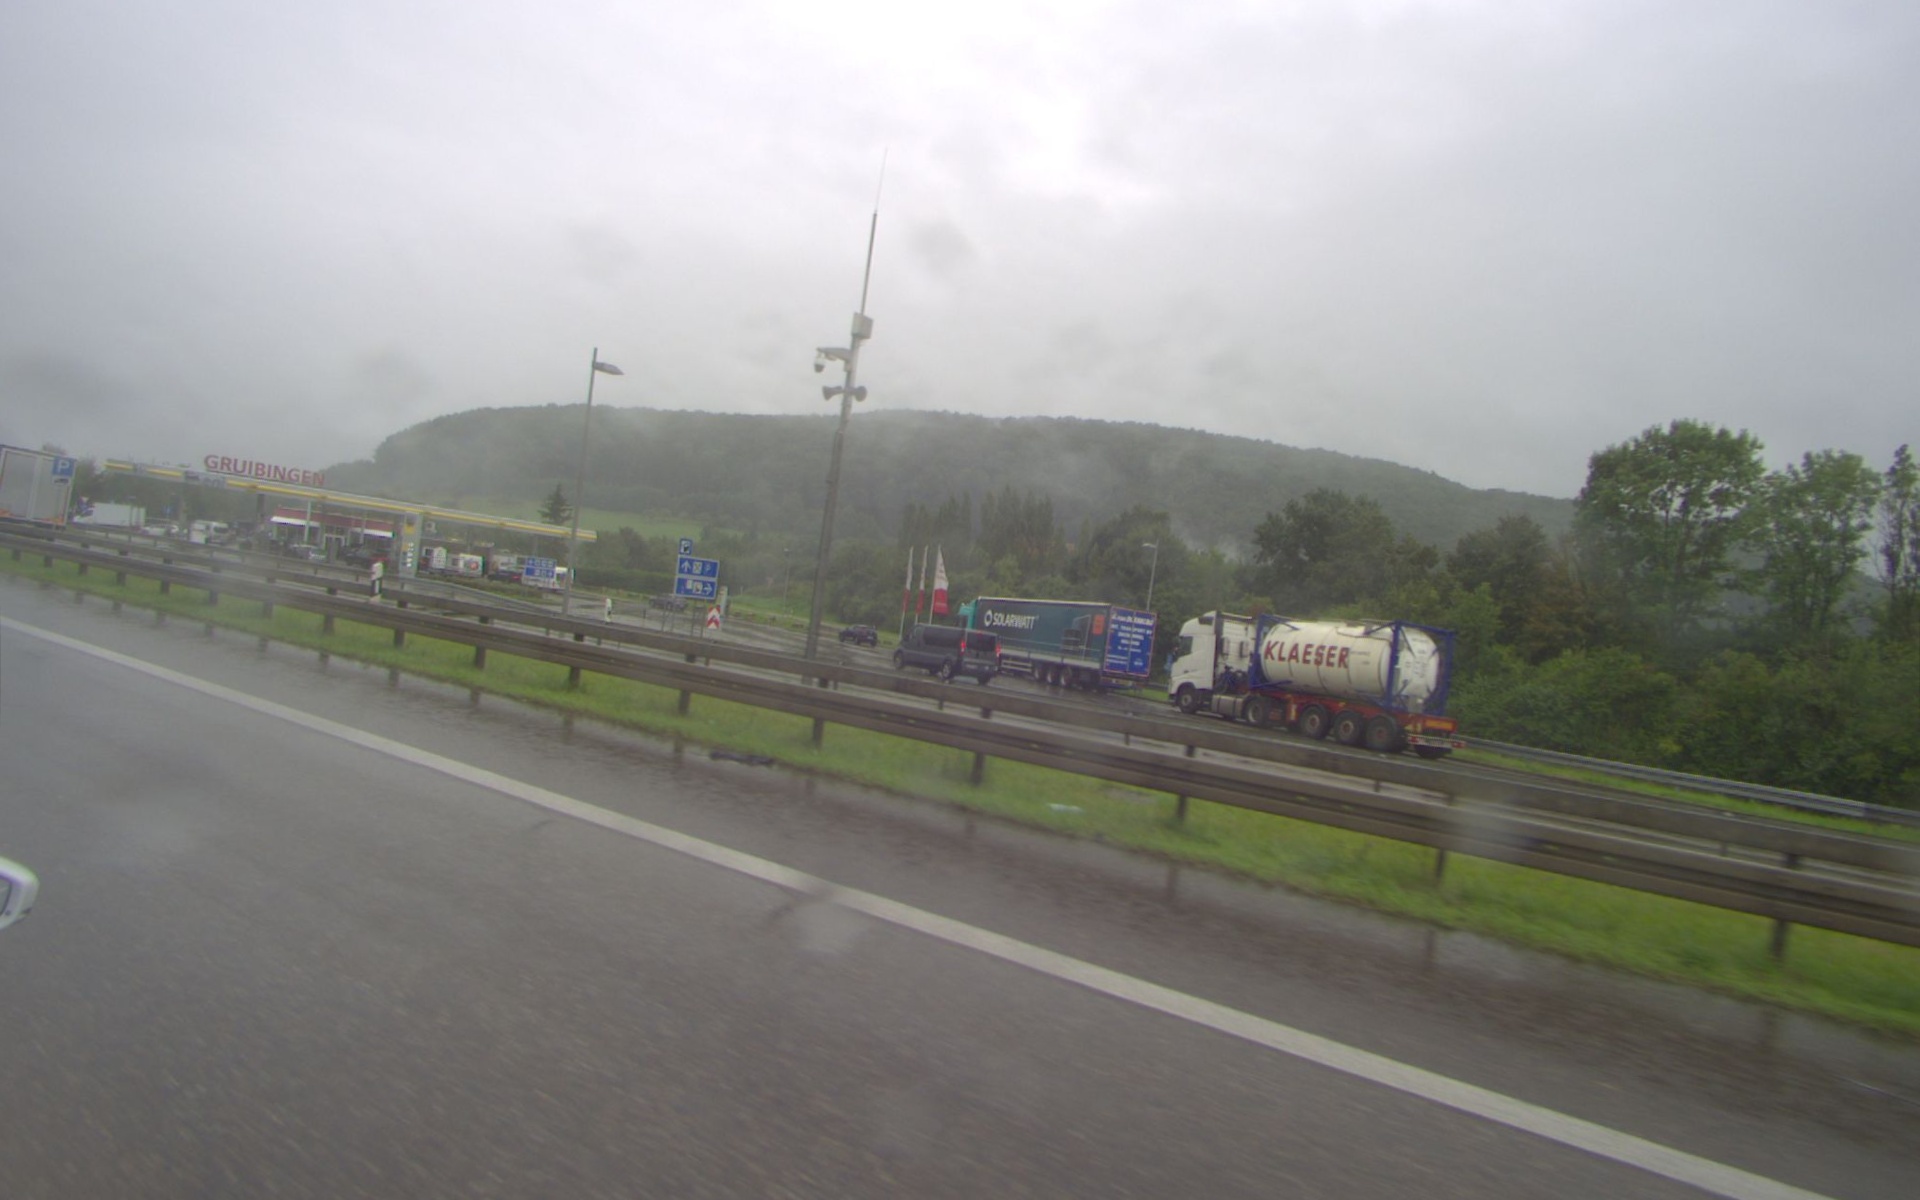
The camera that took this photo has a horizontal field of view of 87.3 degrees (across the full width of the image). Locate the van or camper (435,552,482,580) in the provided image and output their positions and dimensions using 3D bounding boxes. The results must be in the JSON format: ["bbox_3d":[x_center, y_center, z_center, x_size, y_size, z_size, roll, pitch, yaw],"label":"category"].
[{"bbox_3d":[-47.246,-3.207,94.743,3.934,2.037,1.998,6,-2,32],"label":"van or camper"}]

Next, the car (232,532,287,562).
[{"bbox_3d":[-61.118,-4.654,87.775,4.820,2.037,1.998,6,-2,32],"label":"car"}]

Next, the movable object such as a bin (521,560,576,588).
[{"bbox_3d":[-40.671,-2.569,99.430,5.294,2.037,2.171,6,-2,31],"label":"movable object such as a bin"}]

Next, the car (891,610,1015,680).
[{"bbox_3d":[-0.355,1.676,38.420,1.983,2.037,5.005,8,-1,-36],"label":"car"}]

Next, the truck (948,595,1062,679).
[{"bbox_3d":[2.323,1.897,55.192,2.723,3.911,7.493,8,-2,-24],"label":"truck"}]

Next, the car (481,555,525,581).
[{"bbox_3d":[-46.292,-3.238,101.828,3.933,2.037,1.998,6,-2,31],"label":"car"}]

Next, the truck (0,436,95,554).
[{"bbox_3d":[-44.019,-4.974,45.979,10.867,4.452,3.408,7,-2,33],"label":"truck"}]

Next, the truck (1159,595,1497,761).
[{"bbox_3d":[11.740,2.251,34.215,2.845,4.305,11.804,8,-2,-25],"label":"truck"}]

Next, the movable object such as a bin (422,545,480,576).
[{"bbox_3d":[-48.301,-3.758,95.450,5.629,2.214,1.998,6,-2,31],"label":"movable object such as a bin"}]

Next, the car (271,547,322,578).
[{"bbox_3d":[-55.396,-3.123,83.970,3.934,2.037,1.964,6,-2,32],"label":"car"}]

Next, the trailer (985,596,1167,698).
[{"bbox_3d":[5.201,2.044,48.946,2.759,3.945,11.686,8,-2,-24],"label":"trailer"}]

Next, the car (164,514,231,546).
[{"bbox_3d":[-76.066,-6.956,100.363,5.348,2.335,2.003,7,-2,11],"label":"car"}]

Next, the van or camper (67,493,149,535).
[{"bbox_3d":[-85.416,-8.597,100.906,6.062,3.094,2.000,8,-1,-3],"label":"van or camper"}]
